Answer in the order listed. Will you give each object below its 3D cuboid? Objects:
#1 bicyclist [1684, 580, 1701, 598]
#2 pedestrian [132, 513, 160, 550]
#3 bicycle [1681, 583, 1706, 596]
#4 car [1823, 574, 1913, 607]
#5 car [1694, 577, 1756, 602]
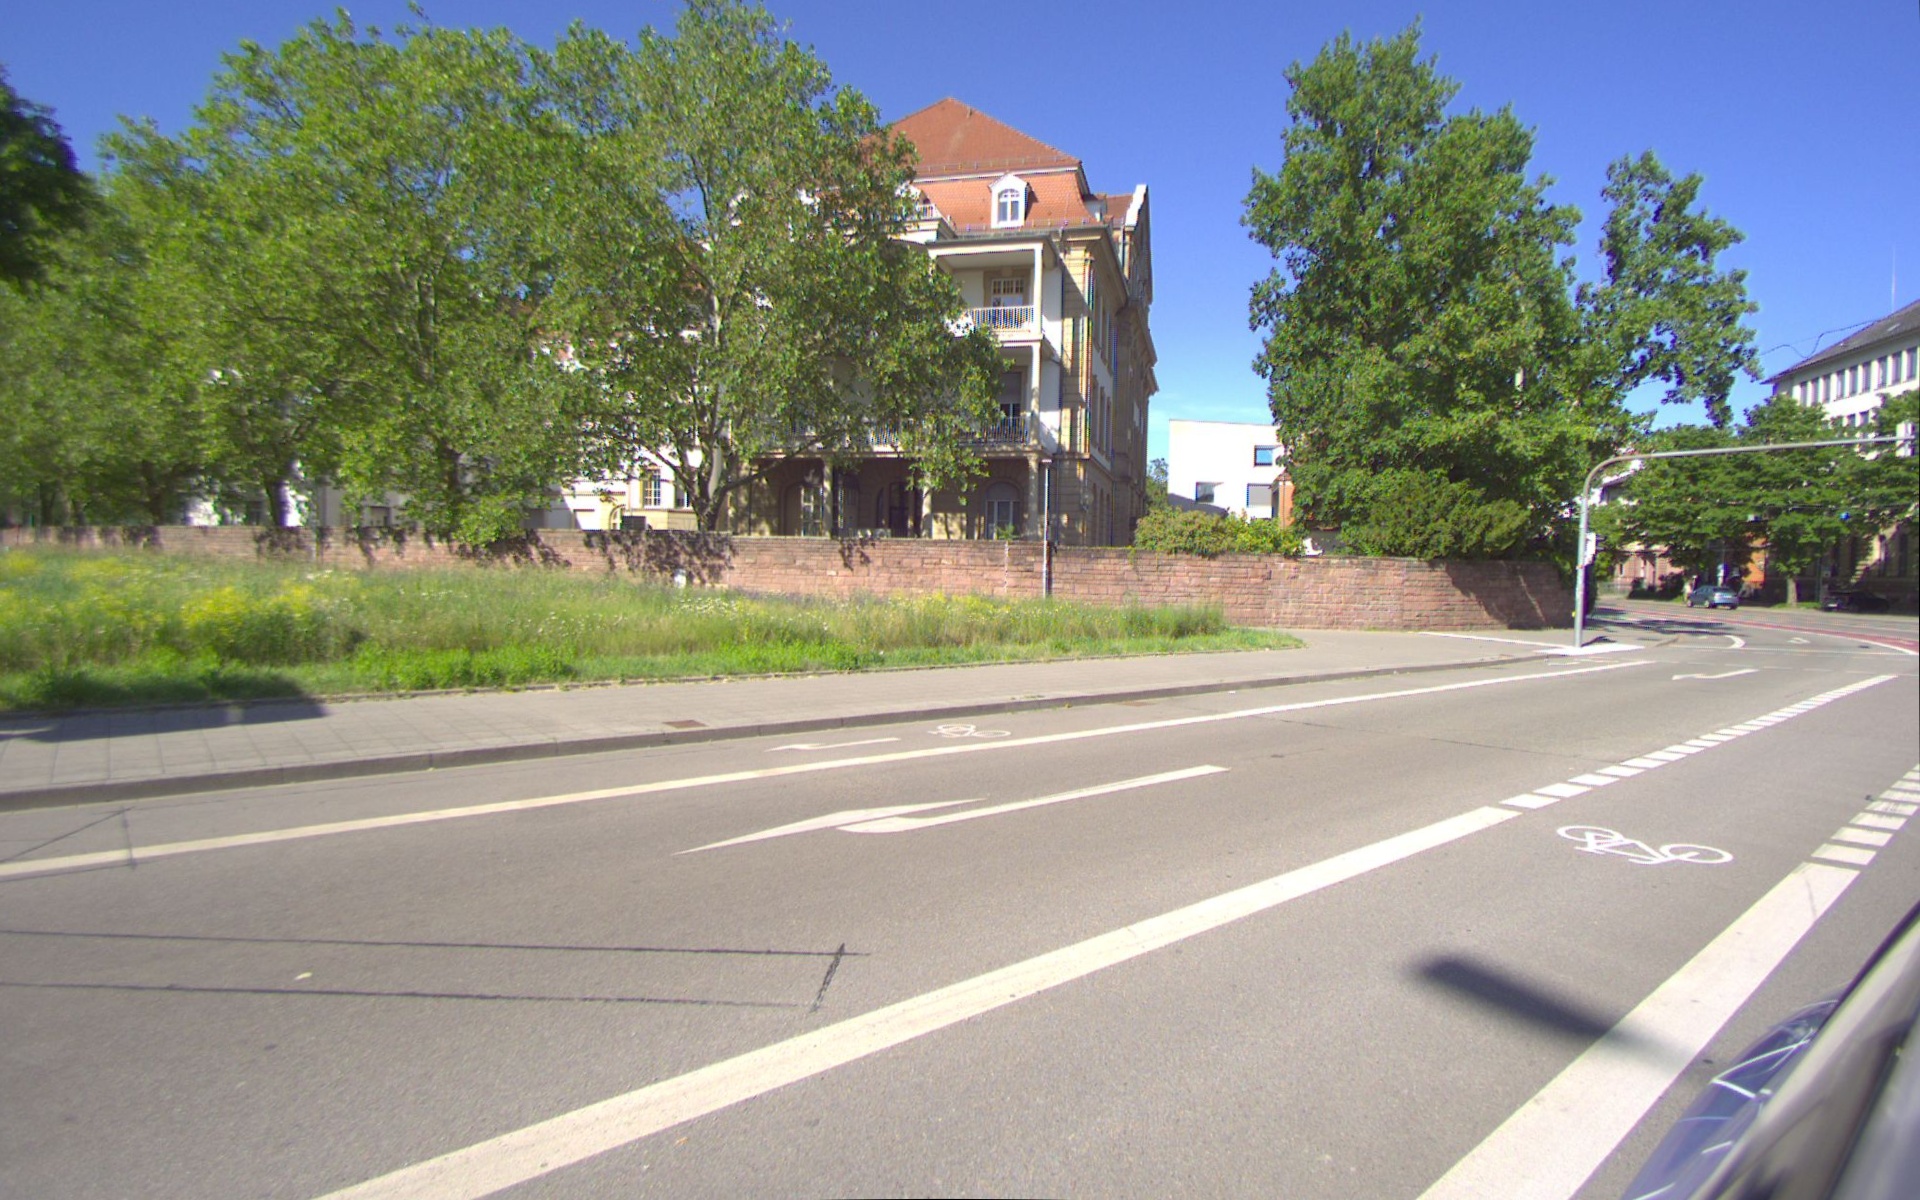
[{"bbox_3d":[59.577,-0.909,82.285,0.720,1.402,0.895,1,1,3],"label":"bicyclist"},{"bbox_3d":[-33.328,-2.813,41.447,0.516,1.461,0.721,0,0,20],"label":"pedestrian"},{"bbox_3d":[59.574,-0.834,82.256,0.720,1.003,1.834,1,2,3],"label":"bicycle"},{"bbox_3d":[61.210,-0.649,68.256,4.615,2.038,2.004,1,2,-9],"label":"car"},{"bbox_3d":[53.376,-0.776,70.704,1.834,1.561,4.224,3,3,14],"label":"car"}]
